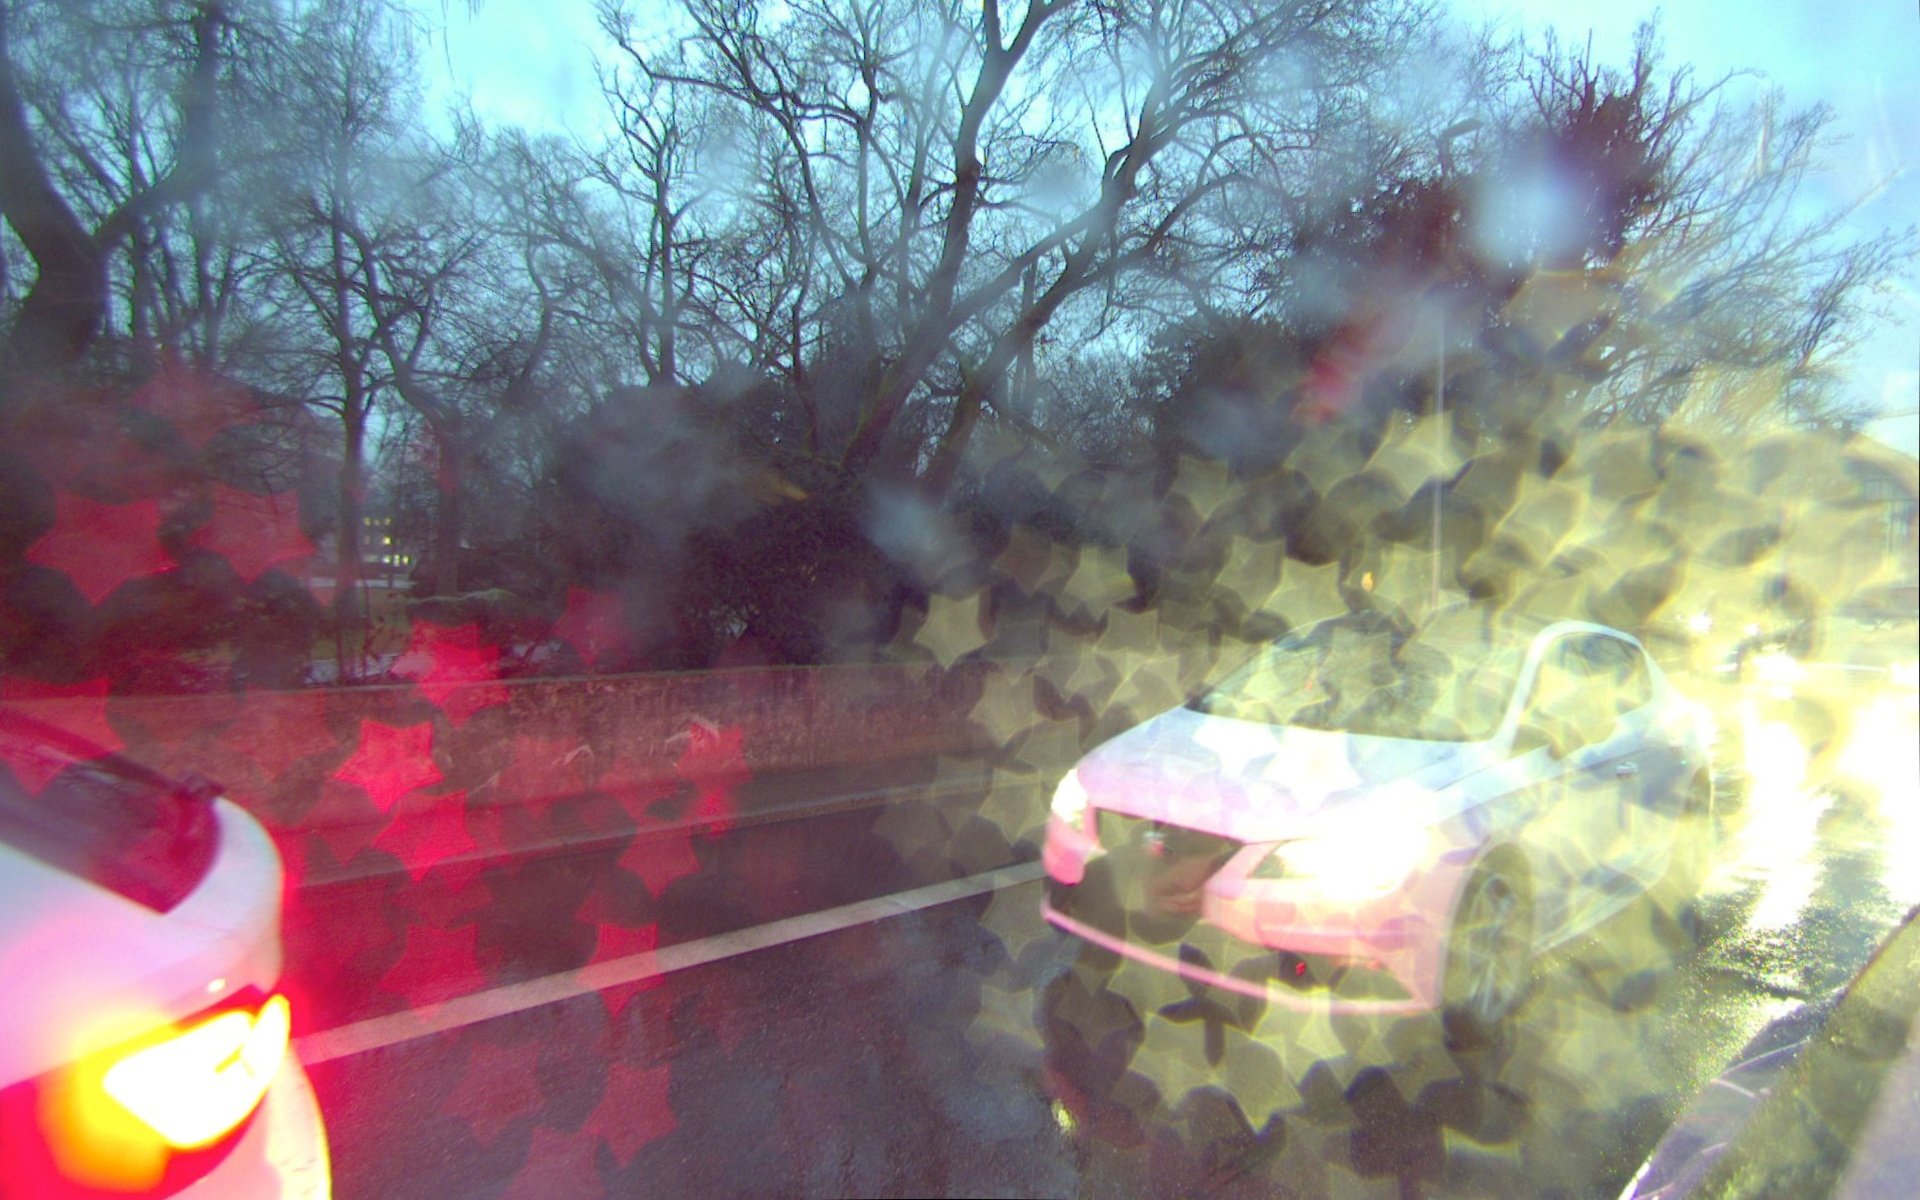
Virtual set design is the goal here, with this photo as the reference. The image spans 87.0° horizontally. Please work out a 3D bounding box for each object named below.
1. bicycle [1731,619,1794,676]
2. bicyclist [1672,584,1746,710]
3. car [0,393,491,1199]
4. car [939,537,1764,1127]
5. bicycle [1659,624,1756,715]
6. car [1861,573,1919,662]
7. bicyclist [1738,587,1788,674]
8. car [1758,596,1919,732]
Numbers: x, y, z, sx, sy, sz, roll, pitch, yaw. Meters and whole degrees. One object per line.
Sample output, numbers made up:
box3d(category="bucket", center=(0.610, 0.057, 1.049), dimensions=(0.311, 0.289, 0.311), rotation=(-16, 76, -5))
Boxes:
box3d(category="bicycle", center=(16.091, 0.921, 20.279), dimensions=(1.691, 1.055, 0.691), rotation=(0, 0, -41))
box3d(category="bicyclist", center=(13.886, 0.829, 18.766), dimensions=(0.920, 2.251, 0.965), rotation=(0, 0, -45))
box3d(category="car", center=(-3.003, 0.550, 0.310), dimensions=(4.855, 1.575, 1.865), rotation=(0, 2, -44))
box3d(category="car", center=(2.087, 0.595, 4.764), dimensions=(4.097, 1.580, 1.885), rotation=(0, 2, -41))
box3d(category="bicycle", center=(13.896, 1.219, 18.757), dimensions=(0.965, 1.469, 3.335), rotation=(0, 0, 45))
box3d(category="car", center=(19.515, 0.313, 19.934), dimensions=(4.193, 1.648, 2.072), rotation=(0, 0, -40))
box3d(category="bicyclist", center=(16.105, 0.599, 20.299), dimensions=(0.582, 1.706, 0.691), rotation=(0, 0, -41))
box3d(category="car", center=(12.954, 0.780, 14.247), dimensions=(4.196, 1.648, 2.070), rotation=(0, 0, -43))
